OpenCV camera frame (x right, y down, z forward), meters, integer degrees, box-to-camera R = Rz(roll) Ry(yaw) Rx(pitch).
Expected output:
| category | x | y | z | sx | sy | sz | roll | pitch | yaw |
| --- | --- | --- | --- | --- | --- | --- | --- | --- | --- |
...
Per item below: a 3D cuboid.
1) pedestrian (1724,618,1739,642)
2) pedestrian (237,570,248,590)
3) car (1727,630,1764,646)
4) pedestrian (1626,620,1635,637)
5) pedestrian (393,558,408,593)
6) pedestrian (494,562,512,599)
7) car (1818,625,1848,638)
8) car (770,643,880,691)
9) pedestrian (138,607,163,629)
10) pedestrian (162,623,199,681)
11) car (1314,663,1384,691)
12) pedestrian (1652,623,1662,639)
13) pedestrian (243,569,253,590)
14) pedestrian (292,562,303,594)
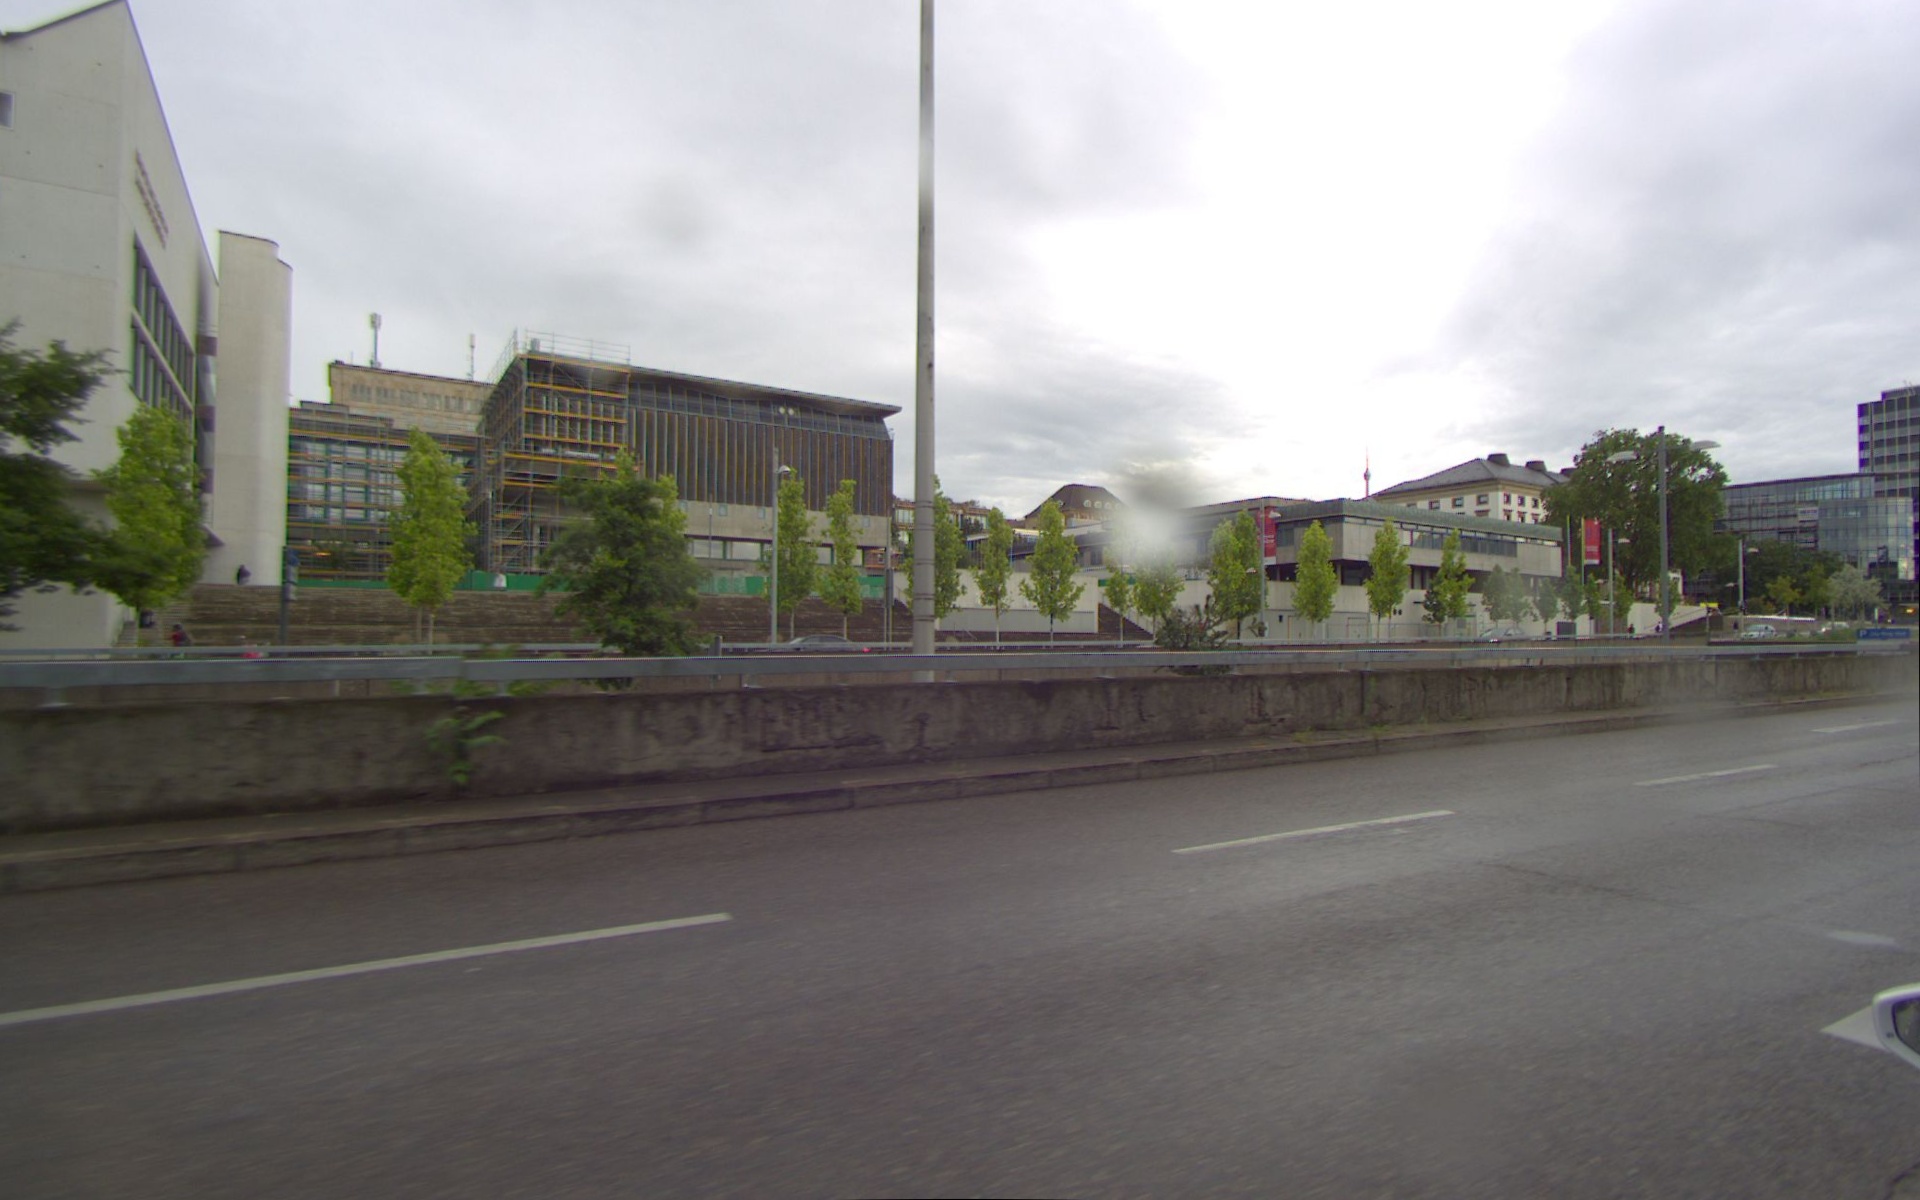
| category | x | y | z | sx | sy | sz | roll | pitch | yaw |
| --- | --- | --- | --- | --- | --- | --- | --- | --- | --- |
| pedestrian | 70.533 | 2.708 | 91.831 | 0.714 | 2.120 | 0.766 | -4 | 2 | -17 |
| pedestrian | -41.345 | -1.144 | 57.904 | 0.411 | 1.126 | 0.312 | 1 | -1 | 19 |
| car | 67.288 | 3.249 | 86.040 | 3.128 | 1.271 | 1.402 | 2 | -1 | -29 |
| pedestrian | 56.797 | 2.413 | 85.130 | 0.572 | 1.401 | 0.463 | 2 | -1 | -38 |
| pedestrian | -33.222 | -1.451 | 59.648 | 0.601 | 2.040 | 0.632 | 2 | -1 | -39 |
| pedestrian | -25.500 | -1.100 | 56.074 | 0.629 | 2.040 | 0.604 | 1 | -1 | 33 |
| car | 84.748 | 3.070 | 97.526 | 2.988 | 1.129 | 1.432 | 2 | -1 | -33 |
| car | -4.729 | 2.320 | 35.265 | 3.441 | 1.576 | 1.683 | 2 | -1 | -35 |
| pedestrian | -32.430 | 0.719 | 40.242 | 0.621 | 0.899 | 0.803 | 2 | -1 | -30 |
| pedestrian | -25.885 | 1.723 | 33.383 | 0.821 | 1.891 | 1.079 | 2 | -1 | -33 |
| car | 17.917 | 3.527 | 46.240 | 3.018 | 1.144 | 1.479 | 2 | -1 | -33 |
| pedestrian | 63.395 | 2.833 | 91.332 | 0.626 | 1.441 | 0.489 | 2 | -1 | -32 |
| pedestrian | -39.955 | -1.143 | 56.346 | 0.307 | 1.126 | 0.418 | 2 | -1 | -16 |
| pedestrian | -34.016 | -1.137 | 51.570 | 0.306 | 1.594 | 0.314 | 1 | -1 | 29 |
